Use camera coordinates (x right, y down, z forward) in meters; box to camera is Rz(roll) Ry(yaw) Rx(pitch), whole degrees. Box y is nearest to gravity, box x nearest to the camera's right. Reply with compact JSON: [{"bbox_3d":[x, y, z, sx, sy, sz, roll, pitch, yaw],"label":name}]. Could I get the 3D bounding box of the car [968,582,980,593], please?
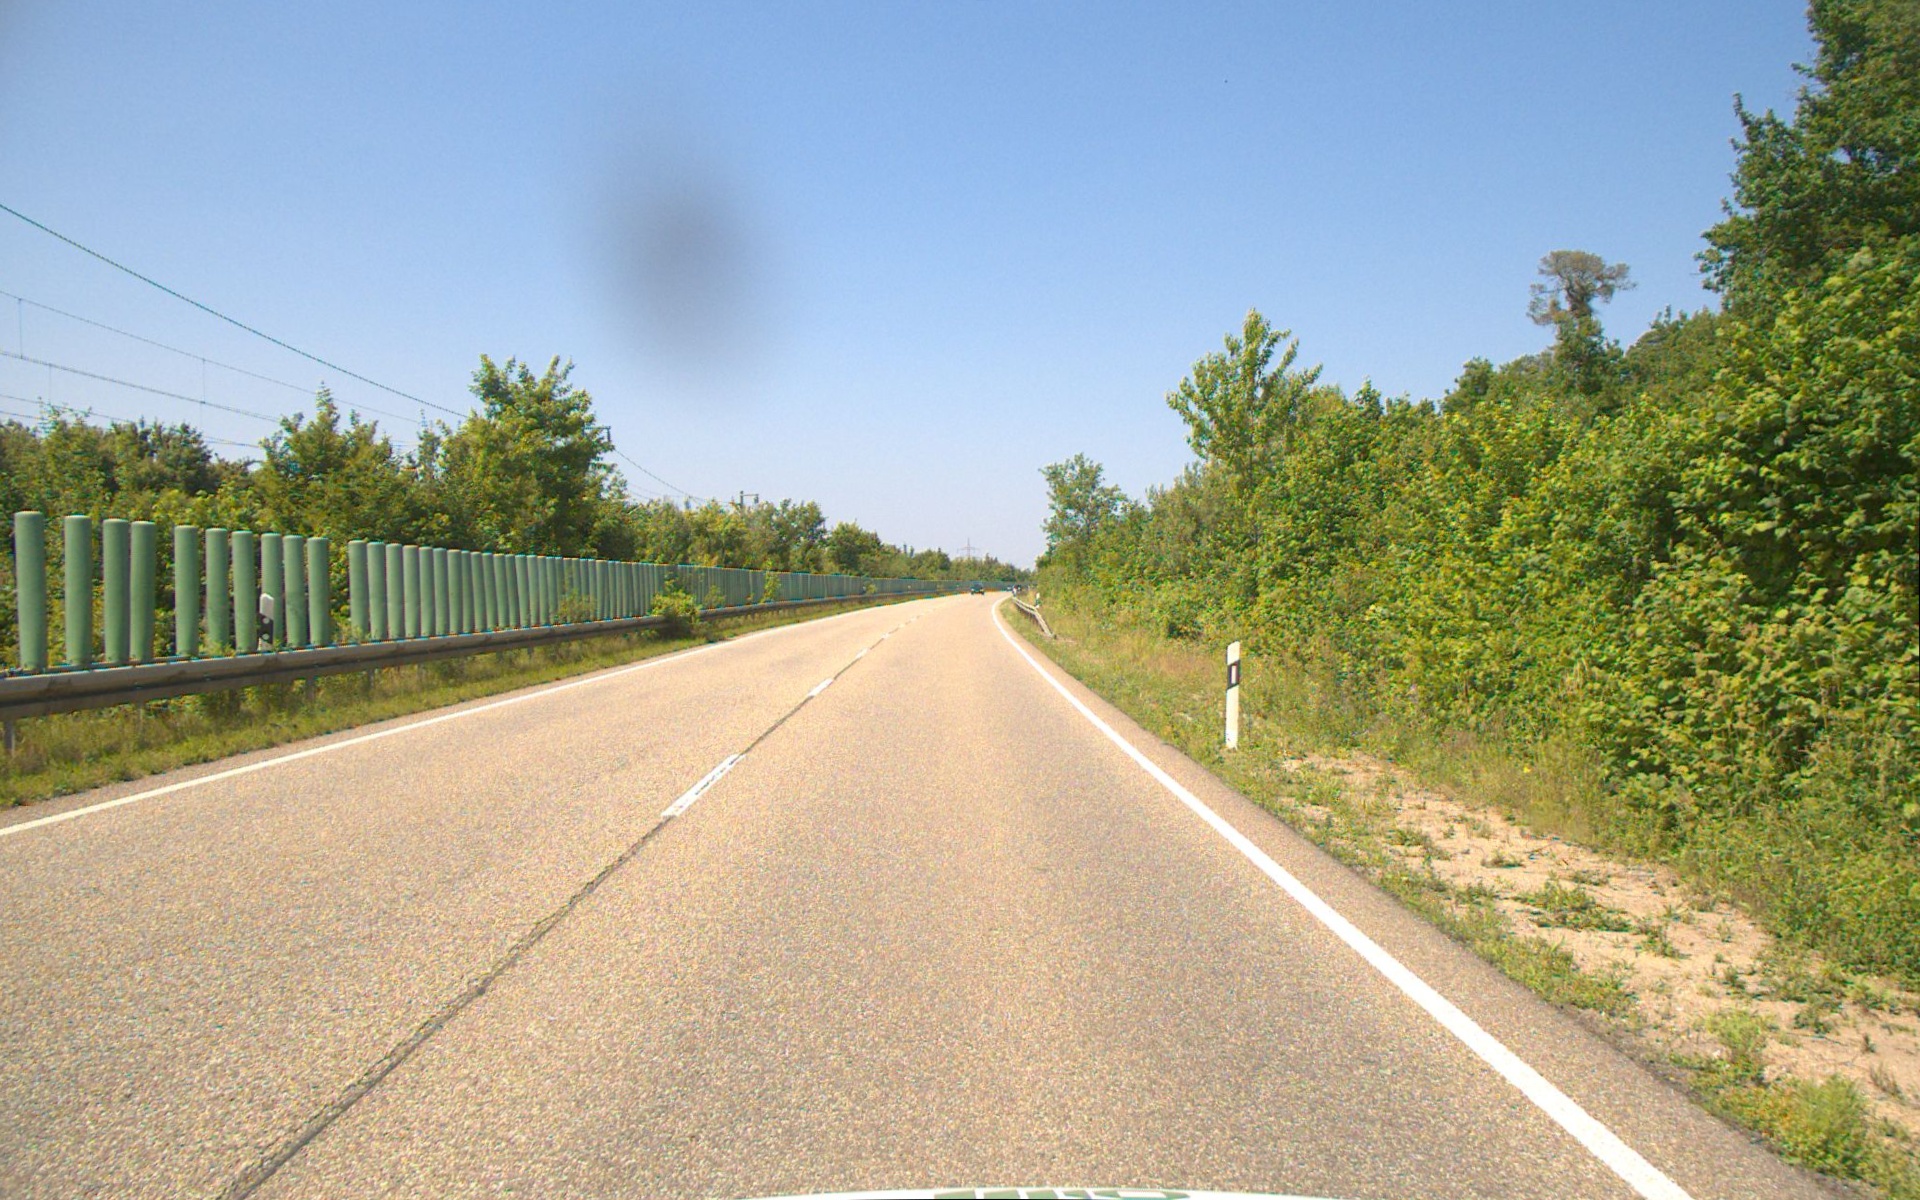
[{"bbox_3d":[2.018,-1.810,243.144,1.727,1.669,4.127,1,0,1],"label":"car"}]
